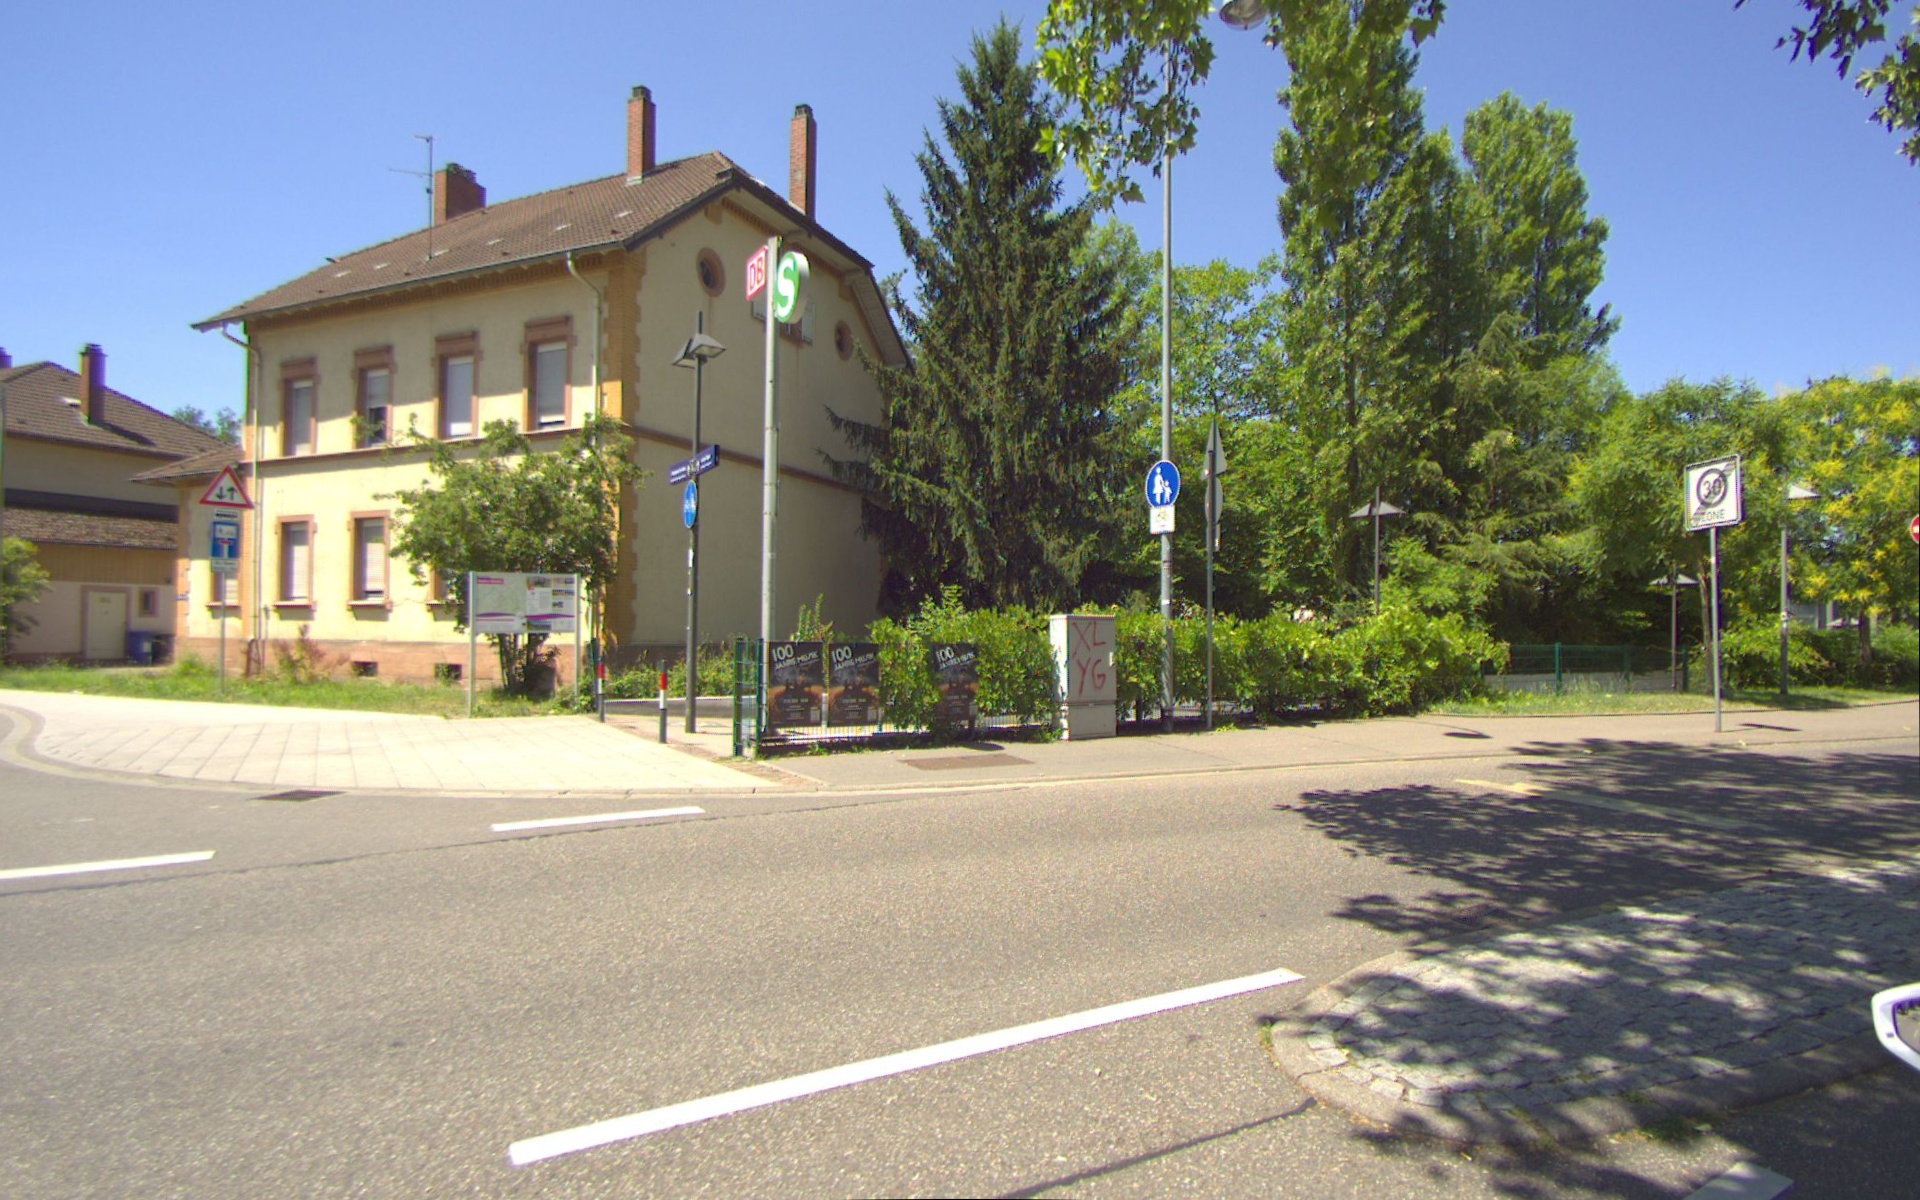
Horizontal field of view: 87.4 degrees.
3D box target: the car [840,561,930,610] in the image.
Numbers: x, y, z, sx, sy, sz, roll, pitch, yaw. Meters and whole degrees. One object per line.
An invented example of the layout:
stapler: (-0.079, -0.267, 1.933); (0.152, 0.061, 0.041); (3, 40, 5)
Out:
car: (-2.936, -0.523, 38.929); (1.769, 1.729, 3.502); (2, -2, -40)
